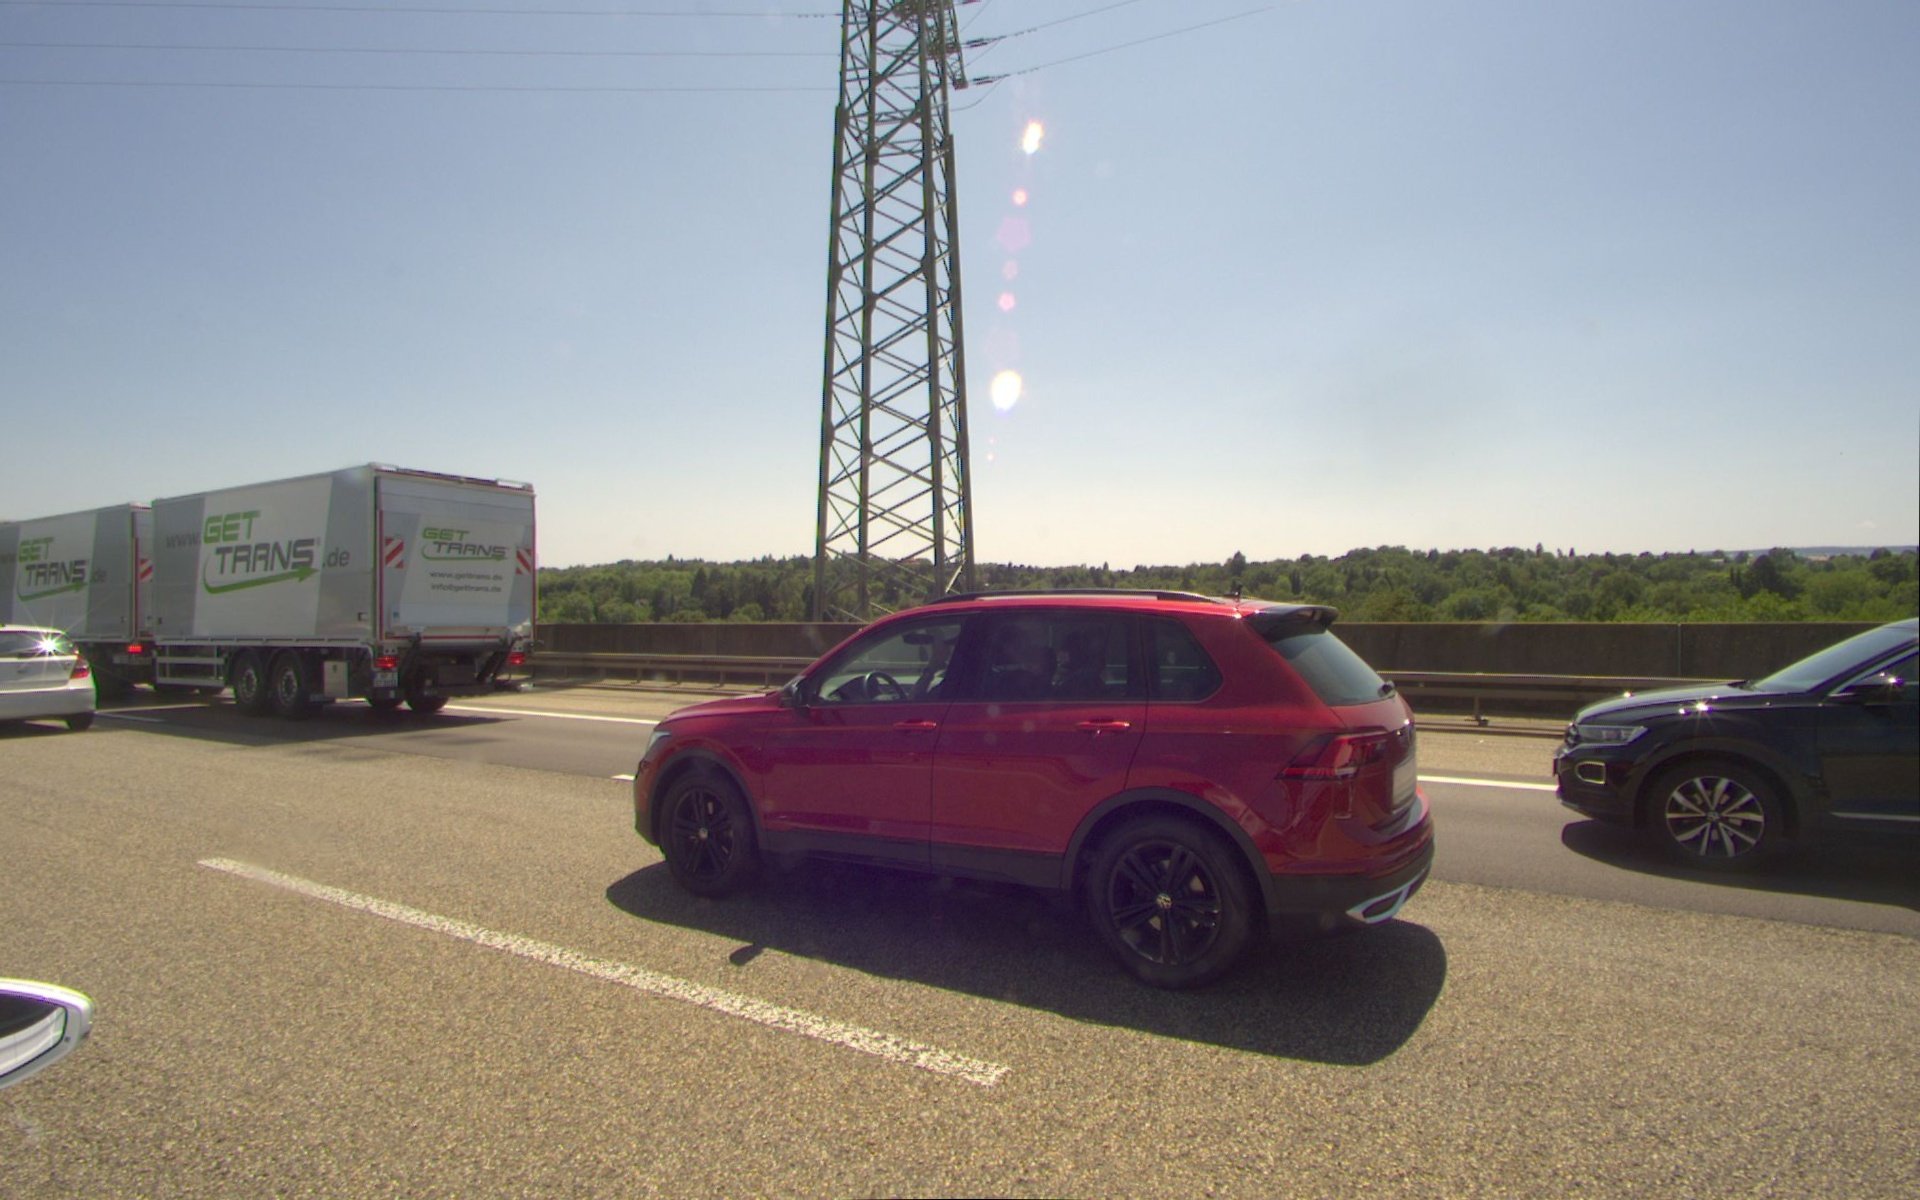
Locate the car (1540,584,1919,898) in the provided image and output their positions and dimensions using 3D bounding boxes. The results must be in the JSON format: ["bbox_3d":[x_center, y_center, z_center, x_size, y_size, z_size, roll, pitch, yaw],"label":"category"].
[{"bbox_3d":[5.806,0.771,5.932,4.059,1.676,1.706,-1,-2,32],"label":"car"}]

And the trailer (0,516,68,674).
[{"bbox_3d":[-28.886,-0.034,28.537,8.850,4.140,2.679,-1,-2,31],"label":"trailer"}]

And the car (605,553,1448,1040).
[{"bbox_3d":[0.184,0.762,5.376,4.224,1.700,1.706,-1,-2,32],"label":"car"}]

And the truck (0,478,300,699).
[{"bbox_3d":[-18.649,-0.058,22.004,10.458,3.984,2.847,-1,-2,32],"label":"truck"}]

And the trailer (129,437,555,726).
[{"bbox_3d":[-10.713,-0.124,17.051,8.097,3.941,2.894,-1,-2,32],"label":"trailer"}]

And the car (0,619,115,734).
[{"bbox_3d":[-13.952,1.040,14.251,3.875,1.489,1.813,-1,-2,31],"label":"car"}]
